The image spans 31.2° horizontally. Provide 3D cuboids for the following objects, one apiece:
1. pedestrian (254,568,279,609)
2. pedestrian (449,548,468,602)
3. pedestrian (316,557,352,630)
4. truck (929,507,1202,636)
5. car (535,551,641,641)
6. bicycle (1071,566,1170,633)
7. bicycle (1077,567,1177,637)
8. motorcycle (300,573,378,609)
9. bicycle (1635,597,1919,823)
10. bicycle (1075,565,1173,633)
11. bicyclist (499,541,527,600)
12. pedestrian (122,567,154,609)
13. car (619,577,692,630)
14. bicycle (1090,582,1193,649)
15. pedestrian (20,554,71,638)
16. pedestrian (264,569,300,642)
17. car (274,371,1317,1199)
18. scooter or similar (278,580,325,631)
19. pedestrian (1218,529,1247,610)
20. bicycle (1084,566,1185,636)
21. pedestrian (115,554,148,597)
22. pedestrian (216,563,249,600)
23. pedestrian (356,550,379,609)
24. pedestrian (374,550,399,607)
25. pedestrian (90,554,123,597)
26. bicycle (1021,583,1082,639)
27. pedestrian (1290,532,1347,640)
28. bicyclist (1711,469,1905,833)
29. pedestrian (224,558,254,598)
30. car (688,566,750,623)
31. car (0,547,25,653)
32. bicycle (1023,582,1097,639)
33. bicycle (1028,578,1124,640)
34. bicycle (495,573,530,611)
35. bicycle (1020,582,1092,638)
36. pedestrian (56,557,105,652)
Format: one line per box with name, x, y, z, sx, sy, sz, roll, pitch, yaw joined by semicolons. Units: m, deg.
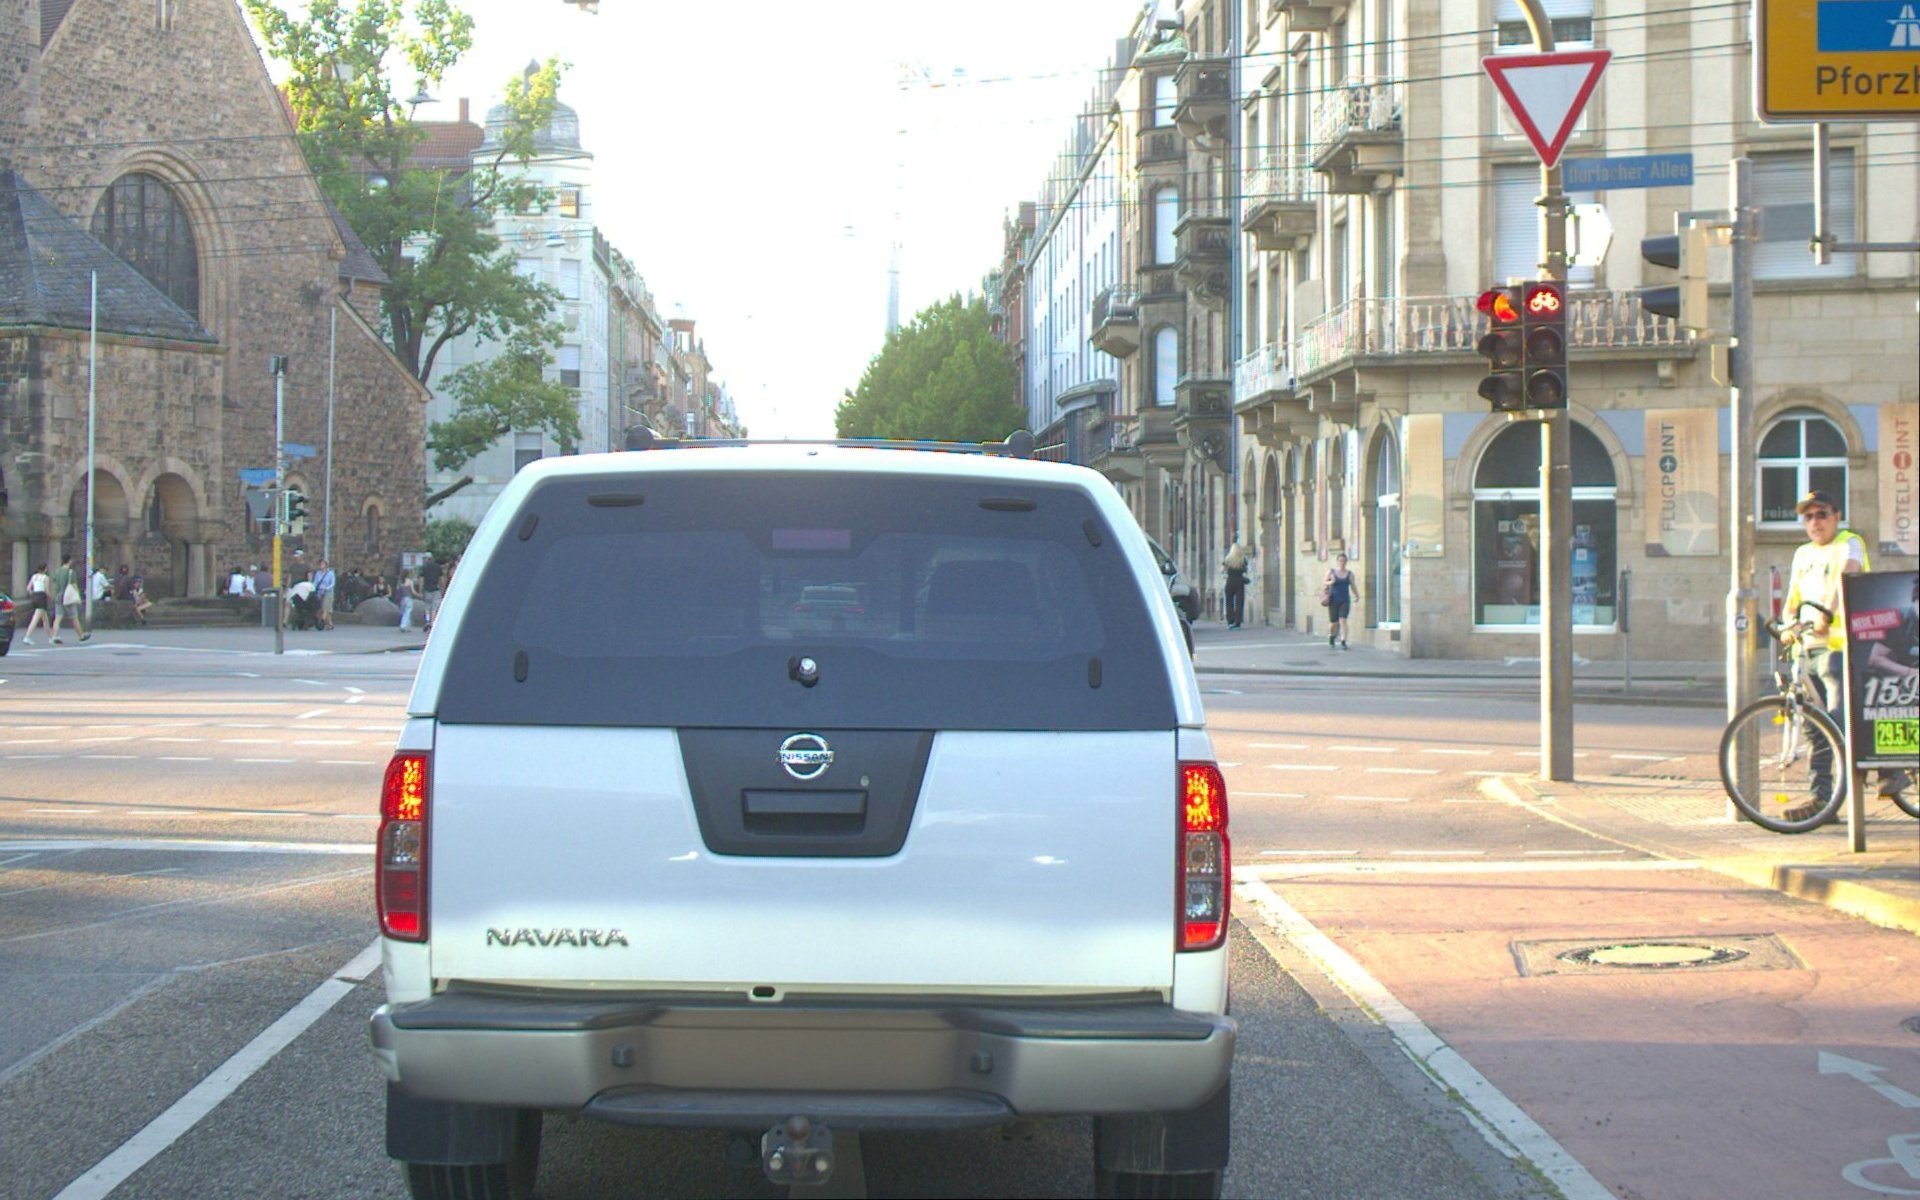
pedestrian;-16.641;-0.275;82.482;0.521;0.957;0.479;1;0;-16
pedestrian;-15.854;-0.790;108.779;0.560;1.690;0.645;1;0;-8
pedestrian;-14.699;-0.157;80.724;0.634;1.693;0.602;1;0;10
truck;2.224;-0.560;70.884;5.658;2.556;2.286;0;0;-44
car;-8.215;-0.127;76.245;1.993;1.778;4.798;1;2;-2
bicycle;3.163;-0.011;67.840;1.855;1.233;0.531;-3;0;-2
bicycle;3.199;0.038;65.978;1.817;1.233;0.478;-3;0;-2
motorcycle;-17.718;-0.259;98.125;2.167;0.984;0.593;1;0;20
bicycle;4.461;0.554;17.678;2.065;1.106;0.628;1;0;-33
bicycle;3.212;-0.012;67.309;1.817;1.233;0.410;-3;0;-2
bicyclist;-12.521;-0.835;96.269;0.599;1.639;0.963;1;0;-18
pedestrian;-18.646;-0.272;77.979;0.478;0.957;0.522;1;0;29
car;-9.554;0.102;108.120;1.993;1.552;4.769;2;0;-2
bicycle;3.391;0.285;64.327;1.817;1.146;0.636;-3;0;-2
pedestrian;-18.523;-0.085;69.632;0.812;1.664;0.860;1;0;-2
pedestrian;-15.956;0.128;80.909;0.634;1.692;0.602;1;3;19
car;-0.342;0.474;8.687;1.993;1.803;4.000;1;0;-1
scooter or similar;-15.305;0.122;79.904;0.634;1.099;1.078;3;3;16
pedestrian;5.575;-0.616;70.361;0.527;1.649;0.547;1;0;-1
bicycle;3.315;0.017;65.270;1.817;1.233;0.488;-3;0;-2
pedestrian;-18.503;-0.542;76.807;0.522;0.957;0.479;1;0;19
pedestrian;-19.220;-0.478;90.803;0.552;0.957;0.709;1;0;20
pedestrian;-17.188;-0.596;99.732;0.642;1.690;0.562;1;0;-9
pedestrian;-16.977;-0.636;101.809;0.642;1.690;0.562;1;0;-1
pedestrian;-19.128;-0.554;77.083;0.522;0.957;0.479;1;0;19
bicycle;1.746;0.209;65.675;1.076;1.021;0.317;-3;0;-2
pedestrian;5.977;-0.235;57.362;0.788;1.773;0.543;1;0;25
bicyclist;4.337;0.255;17.595;0.696;1.818;0.628;1;0;-33
pedestrian;-17.298;-0.530;82.517;0.522;0.957;0.479;1;0;17
car;-8.634;-0.188;123.464;1.993;2.007;4.950;0;0;-2
car;-16.232;0.001;55.370;1.993;1.612;4.001;2;-2;-18
bicycle;1.931;0.195;66.387;1.371;1.021;0.317;-3;0;-2
bicycle;2.180;0.173;64.792;1.726;1.080;0.317;-3;0;-2
bicycle;-12.520;-0.237;96.238;0.599;1.040;1.946;1;0;-18
bicycle;1.875;0.195;66.934;1.333;1.021;0.317;-3;0;-2
pedestrian;-17.796;0.086;69.580;0.812;1.894;0.666;1;0;-2
